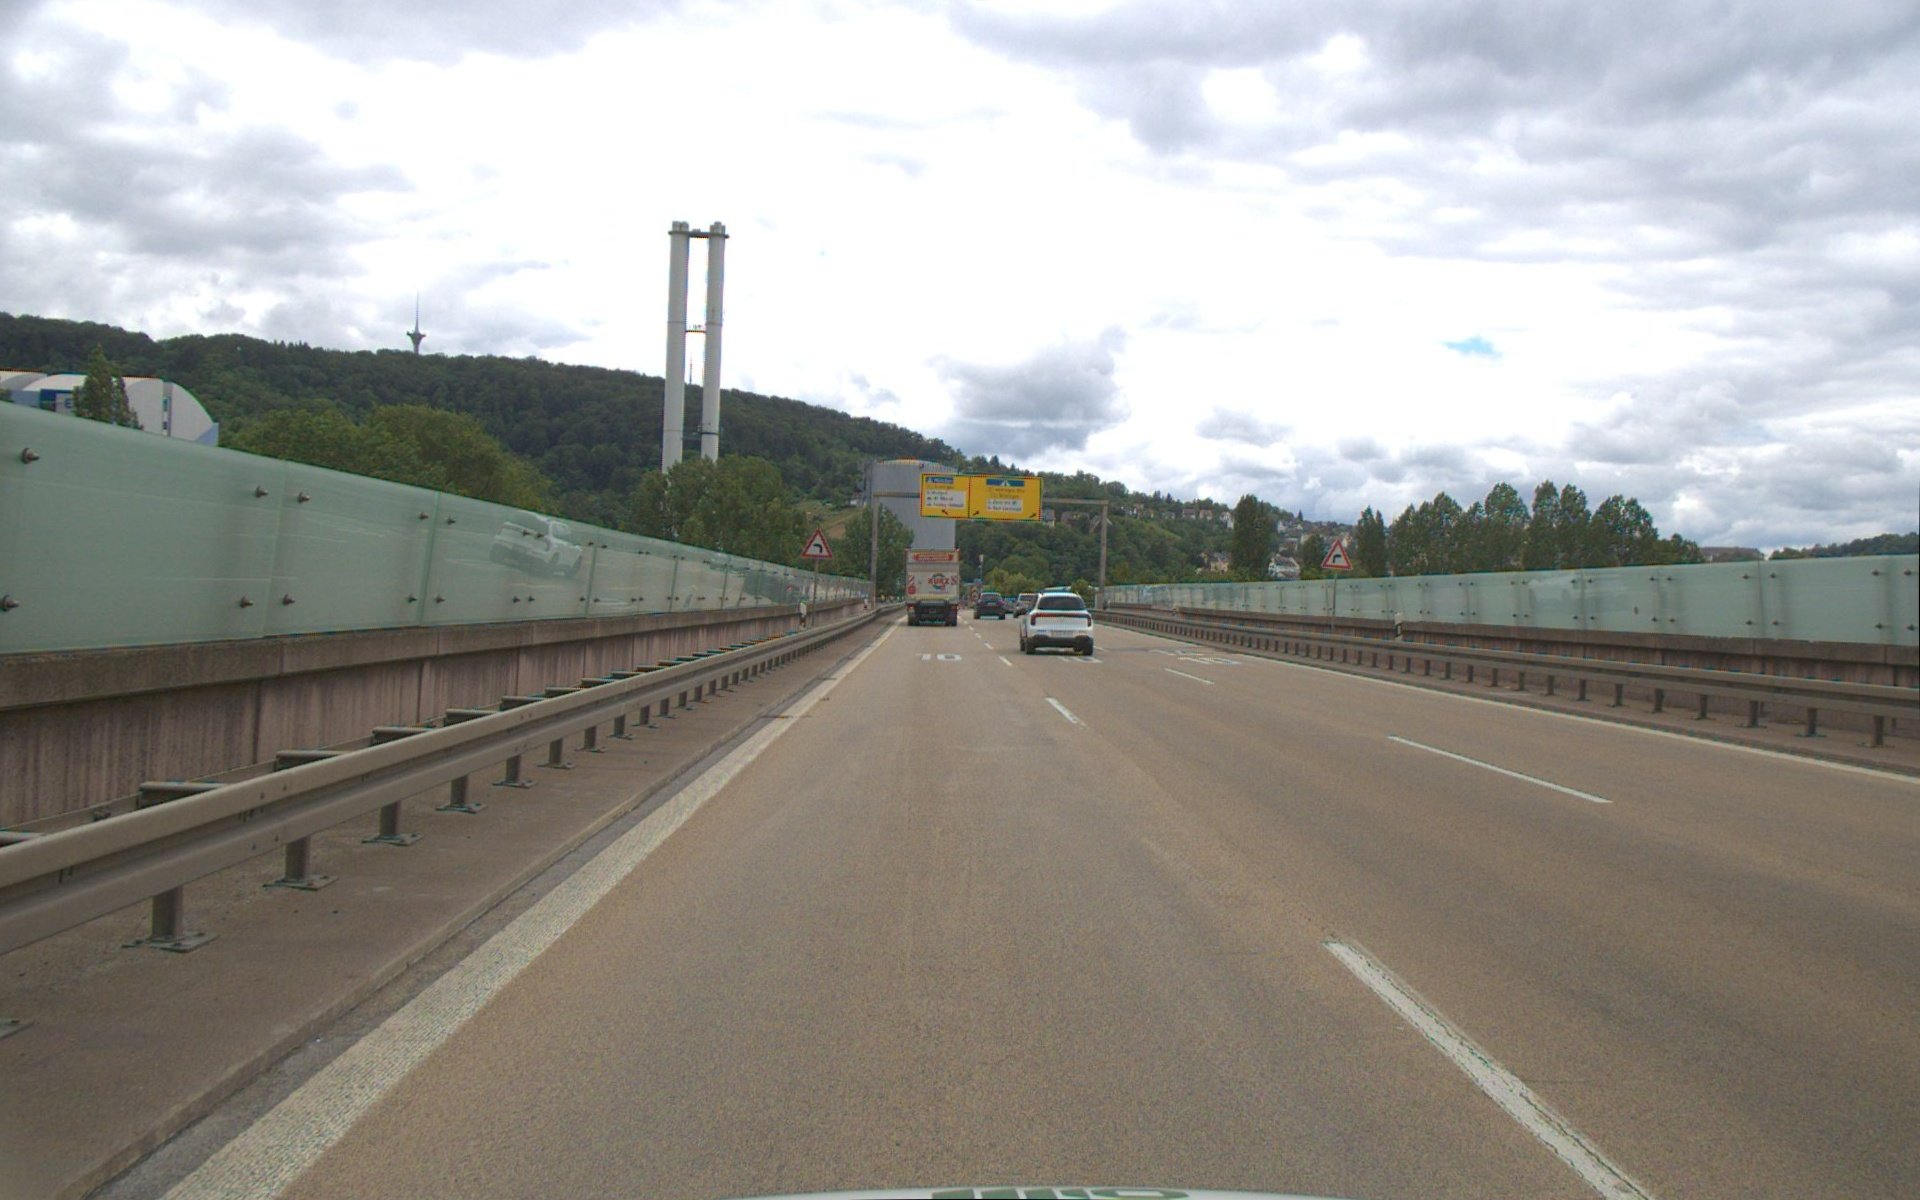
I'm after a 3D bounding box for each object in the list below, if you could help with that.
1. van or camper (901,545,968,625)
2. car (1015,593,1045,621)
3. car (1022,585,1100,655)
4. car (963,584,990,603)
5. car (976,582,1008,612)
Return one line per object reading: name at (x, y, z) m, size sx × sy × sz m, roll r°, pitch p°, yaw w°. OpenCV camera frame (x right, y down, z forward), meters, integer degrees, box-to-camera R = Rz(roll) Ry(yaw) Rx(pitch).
van or camper at (-1.163, -0.704, 80.781) m, size 3.058 × 3.641 × 8.550 m, roll 1°, pitch 0°, yaw 0°
car at (4.865, 0.475, 115.356) m, size 1.884 × 1.816 × 4.113 m, roll 1°, pitch 1°, yaw 0°
car at (2.771, 0.524, 46.094) m, size 1.884 × 1.816 × 4.113 m, roll 1°, pitch 1°, yaw 0°
car at (1.913, -0.749, 188.869) m, size 2.420 × 2.014 × 5.164 m, roll 1°, pitch 0°, yaw 8°
car at (1.973, -0.181, 104.281) m, size 1.884 × 1.816 × 4.113 m, roll 1°, pitch 1°, yaw 0°
